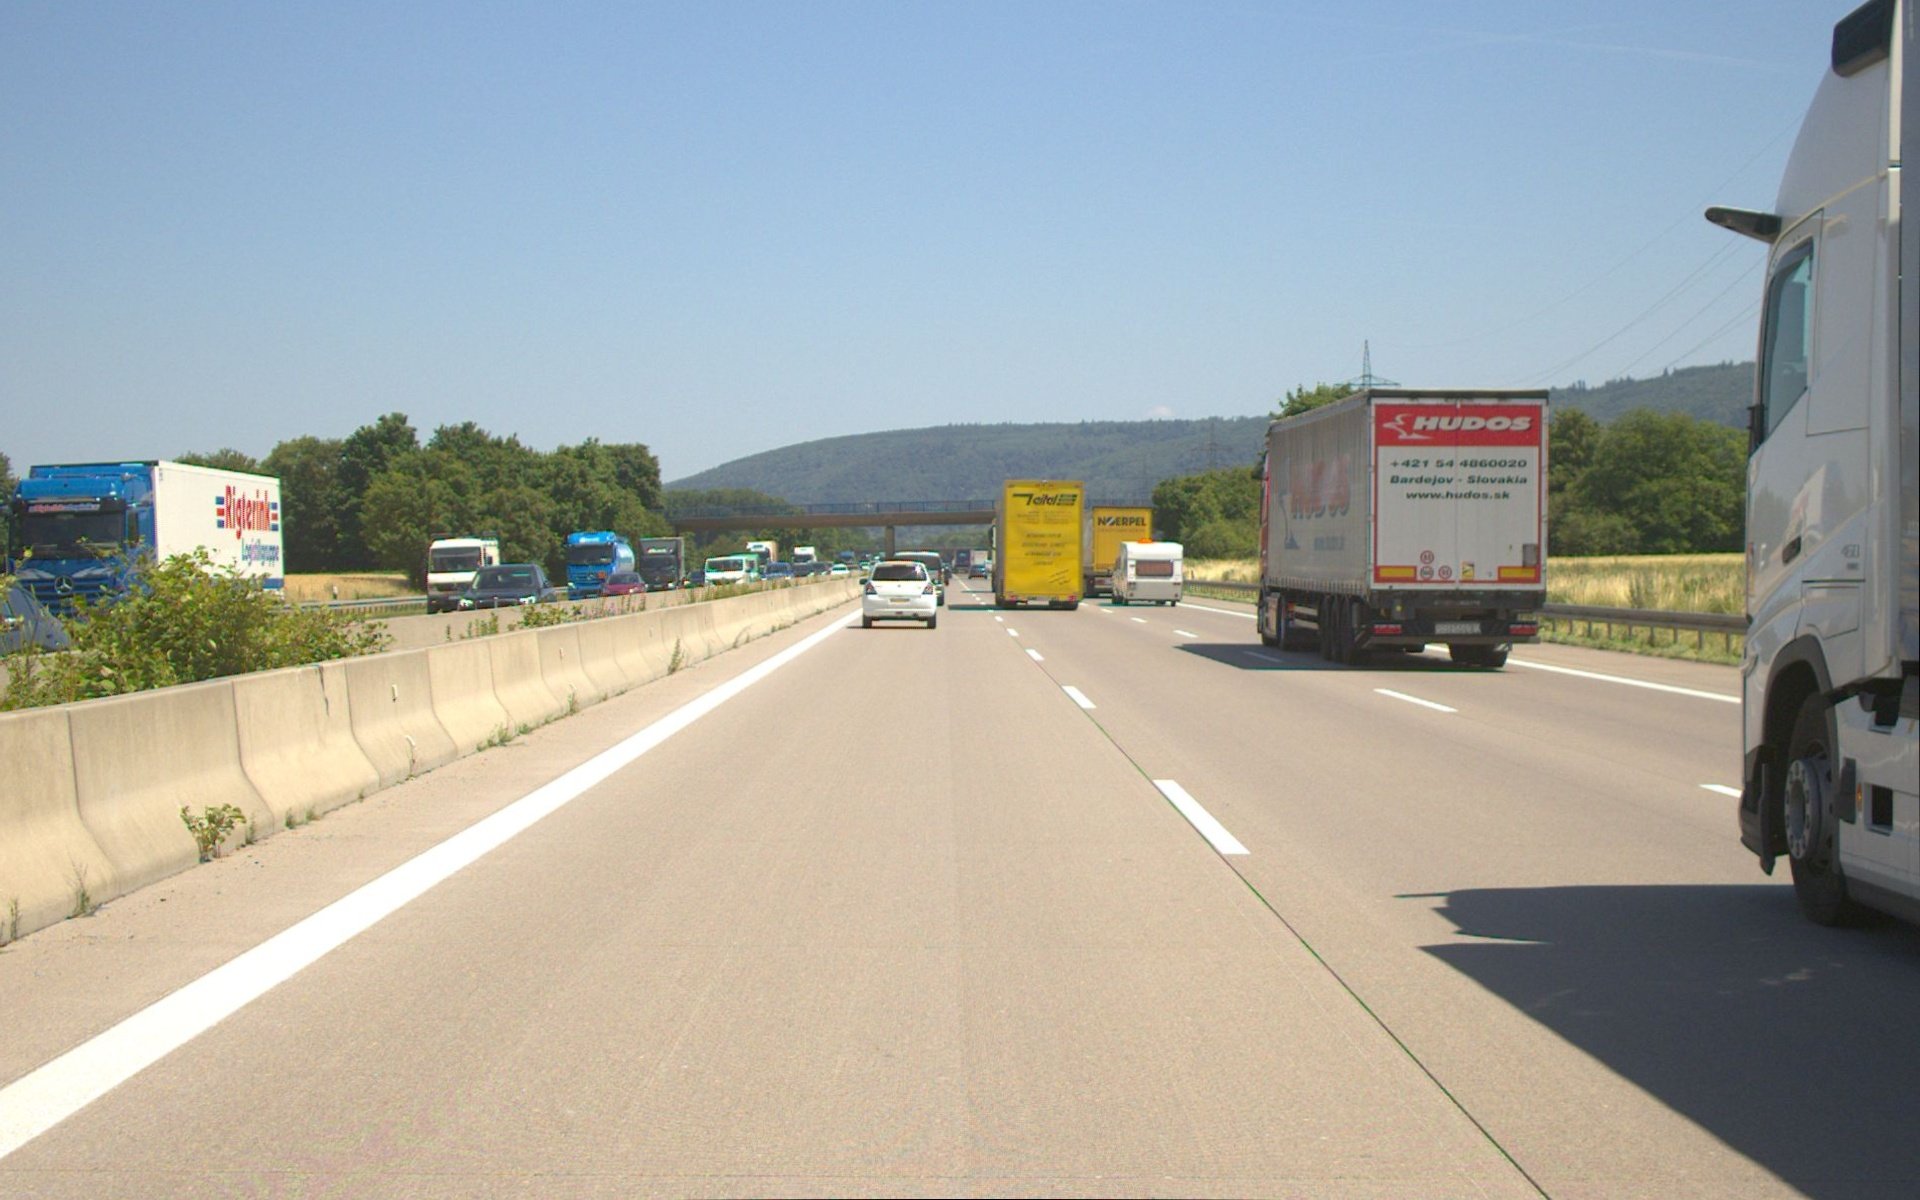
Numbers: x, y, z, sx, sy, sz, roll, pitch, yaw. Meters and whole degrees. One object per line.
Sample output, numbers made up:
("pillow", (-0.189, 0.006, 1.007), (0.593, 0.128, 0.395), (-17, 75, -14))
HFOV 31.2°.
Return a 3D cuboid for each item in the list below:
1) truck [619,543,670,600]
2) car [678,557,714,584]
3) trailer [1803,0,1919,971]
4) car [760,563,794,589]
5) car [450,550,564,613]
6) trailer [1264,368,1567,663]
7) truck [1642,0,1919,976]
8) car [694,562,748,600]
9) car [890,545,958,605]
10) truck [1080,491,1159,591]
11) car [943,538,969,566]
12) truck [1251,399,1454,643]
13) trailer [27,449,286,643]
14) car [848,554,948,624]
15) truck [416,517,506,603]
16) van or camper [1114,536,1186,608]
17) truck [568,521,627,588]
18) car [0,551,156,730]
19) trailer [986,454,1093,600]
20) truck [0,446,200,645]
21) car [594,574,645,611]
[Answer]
("truck", (-20.147, -1.849, 219.876), (2.554, 3.500, 7.885), (-1, 1, -1))
("car", (-15.027, -1.683, 195.907), (1.719, 1.443, 4.708), (1, 1, -1))
("trailer", (5.099, -0.602, 6.488), (3.017, 4.047, 14.208), (1, 1, -2))
("car", (-10.264, -1.344, 193.045), (1.779, 1.344, 4.453), (2, 1, -2))
("car", (-10.062, -0.439, 76.669), (1.898, 1.321, 5.069), (1, 1, -1))
("trailer", (6.979, -1.290, 54.958), (2.874, 4.086, 13.513), (1, 1, 0))
("truck", (4.865, -0.689, 13.545), (2.984, 4.048, 5.478), (1, 1, -2))
("car", (-10.966, -0.881, 157.933), (2.138, 1.673, 5.645), (1, 1, -1))
("car", (-1.246, -0.895, 120.462), (2.254, 2.007, 4.297), (1, 1, 1))
("truck", (7.127, -2.662, 154.637), (2.999, 4.299, 9.684), (1, 1, 0))
("car", (-0.274, -3.302, 236.210), (1.784, 1.875, 4.000), (1, 1, 0))
("truck", (6.925, -1.392, 61.500), (2.906, 4.086, 6.272), (1, 1, 1))
("trailer", (-17.643, -1.200, 76.497), (2.908, 3.895, 12.511), (1, 1, -1))
("car", (-1.390, -0.272, 78.756), (2.107, 1.530, 4.122), (1, 1, 1))
("truck", (-18.366, -1.493, 126.962), (2.322, 3.073, 6.978), (1, 1, -1))
("van or camper", (6.910, -1.035, 125.233), (2.224, 2.522, 5.431), (1, 1, -1))
("truck", (-18.416, -2.311, 175.032), (2.484, 3.298, 5.264), (1, 1, -1))
("car", (-9.507, 0.330, 34.059), (1.924, 1.602, 5.074), (1, 1, -1))
("trailer", (2.572, -2.412, 115.505), (3.216, 4.548, 13.457), (1, 1, 0))
("truck", (-17.607, -1.105, 70.247), (2.897, 3.850, 5.685), (1, 1, -1))
("car", (-14.198, -0.341, 143.612), (1.688, 1.454, 4.487), (1, 1, -1))
